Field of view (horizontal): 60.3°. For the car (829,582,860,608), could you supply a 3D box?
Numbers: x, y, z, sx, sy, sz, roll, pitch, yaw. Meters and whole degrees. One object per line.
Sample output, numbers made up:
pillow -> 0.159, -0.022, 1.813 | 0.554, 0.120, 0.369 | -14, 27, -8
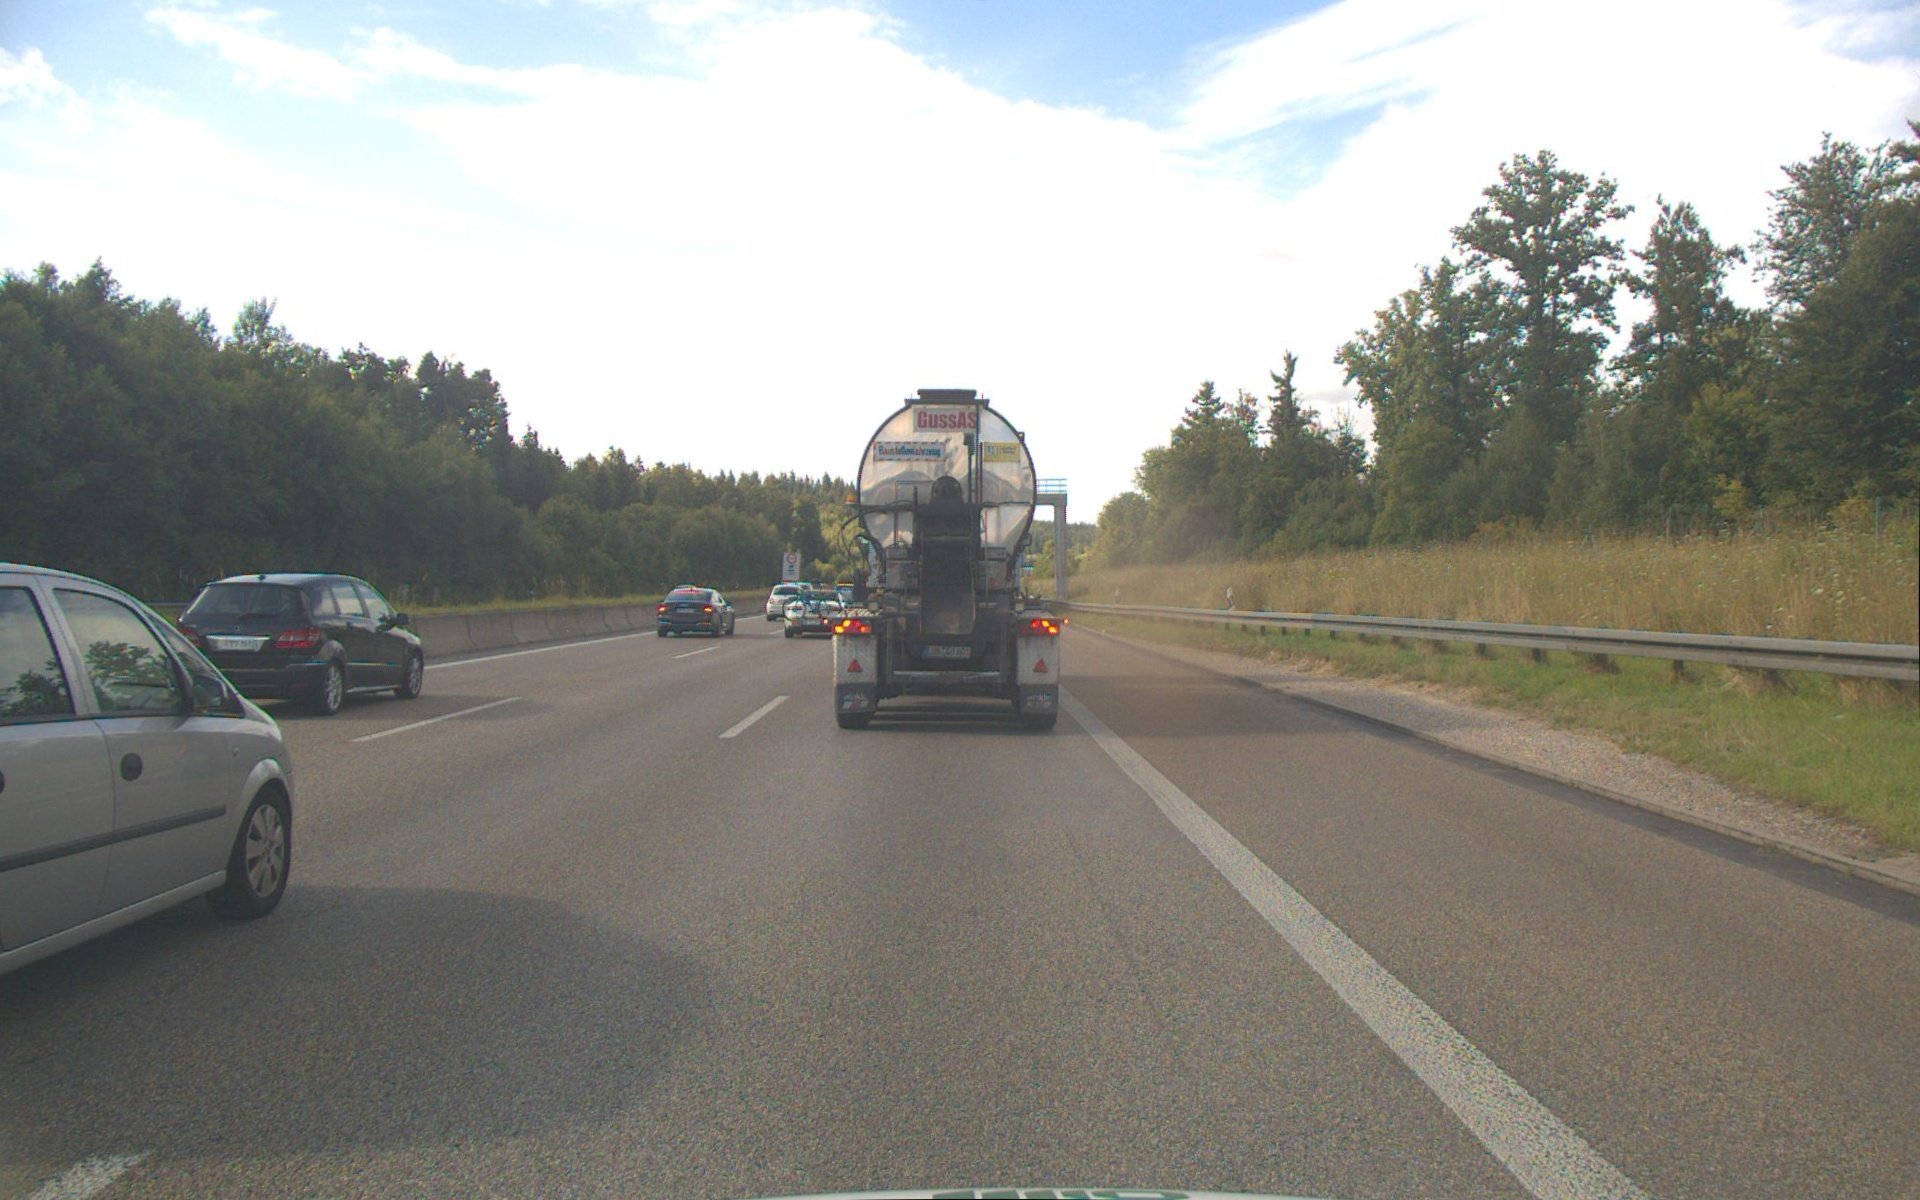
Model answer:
car -> -7.554, -0.374, 108.499 | 1.770, 1.613, 4.206 | 1, 1, -1

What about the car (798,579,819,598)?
car -> -16.370, -1.231, 178.639 | 1.953, 2.049, 4.071 | 0, 0, -1

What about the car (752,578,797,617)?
car -> -8.842, -0.112, 79.115 | 1.808, 1.814, 3.999 | 0, 0, -2

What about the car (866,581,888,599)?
car -> -7.783, -0.931, 155.120 | 1.903, 1.613, 4.206 | 1, 1, -1

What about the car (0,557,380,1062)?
car -> -3.841, 0.629, 6.250 | 1.798, 1.544, 4.333 | 0, 0, 0

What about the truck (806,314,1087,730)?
truck -> -0.152, -0.847, 22.488 | 2.853, 4.230, 11.269 | 0, 0, 0

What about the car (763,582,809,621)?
car -> -7.358, 0.048, 70.112 | 1.585, 1.571, 3.519 | 1, 0, -1

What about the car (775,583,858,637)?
car -> -4.221, 0.258, 49.496 | 2.018, 1.525, 5.736 | 0, 0, 0

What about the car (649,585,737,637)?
car -> -7.753, 0.292, 48.512 | 1.818, 1.456, 4.840 | 0, 0, 0

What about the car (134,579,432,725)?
car -> -7.890, 0.534, 19.759 | 1.798, 1.544, 4.333 | 0, 0, 0
